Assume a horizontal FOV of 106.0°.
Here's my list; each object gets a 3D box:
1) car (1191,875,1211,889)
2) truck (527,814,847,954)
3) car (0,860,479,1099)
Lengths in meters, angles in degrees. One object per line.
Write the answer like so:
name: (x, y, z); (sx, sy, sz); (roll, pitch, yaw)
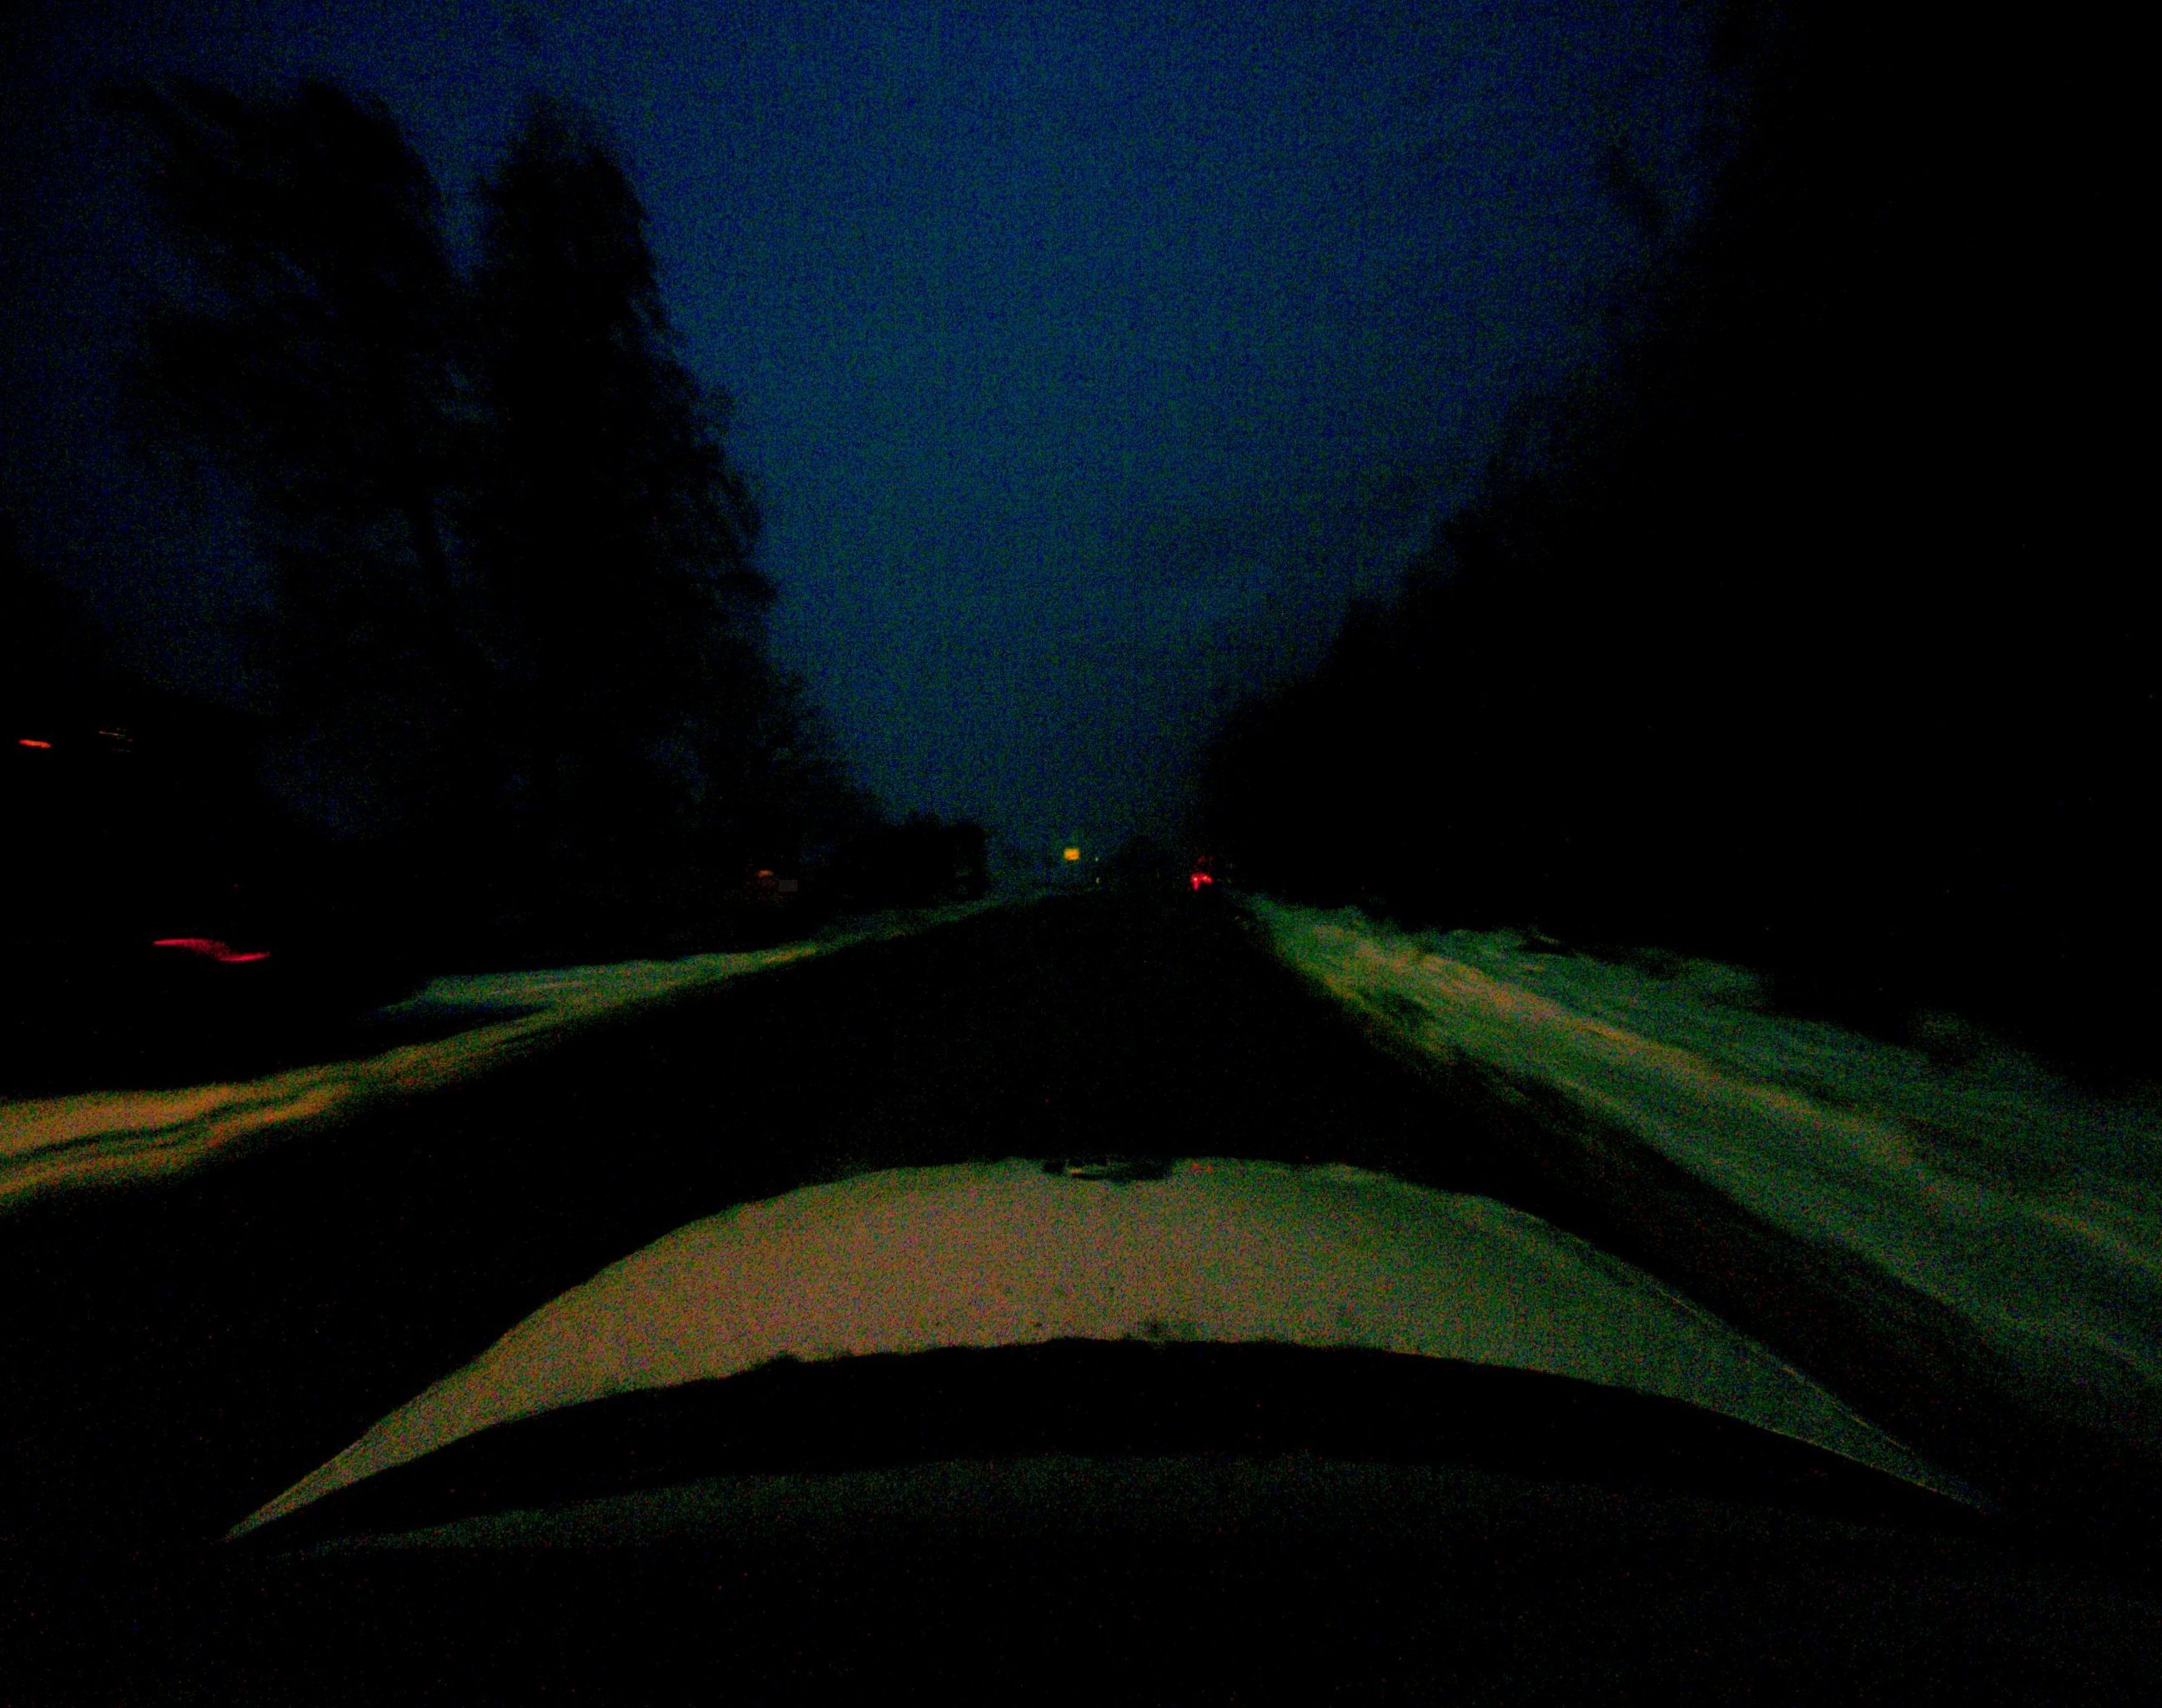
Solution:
car: (12.207, 2.831, 82.763); (1.982, 1.420, 4.008); (-1, -2, 8)
truck: (-7.645, 0.547, 16.275); (5.250, 2.302, 1.998); (-3, 0, -4)
car: (-8.091, 0.941, 6.457); (4.876, 1.485, 2.121); (-3, 0, -3)
